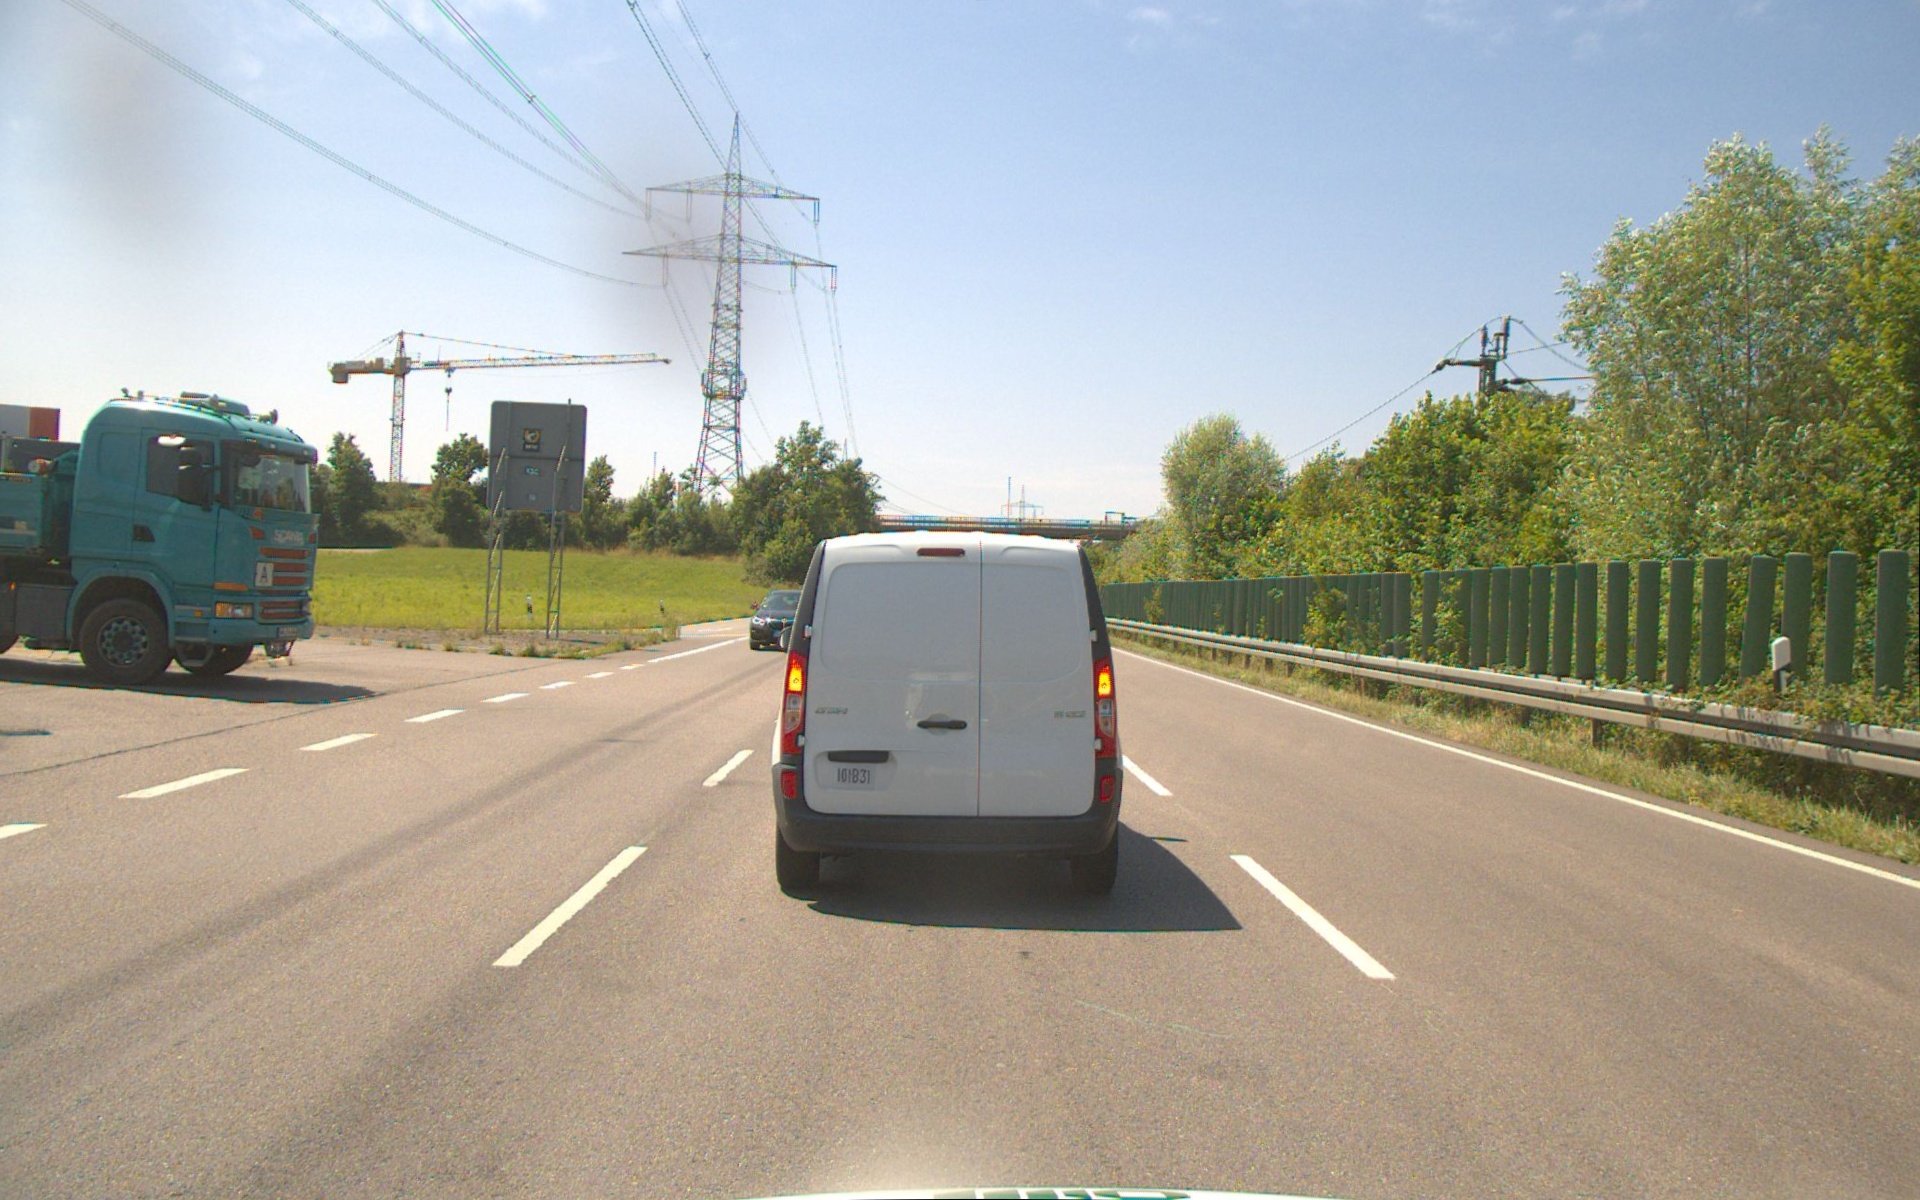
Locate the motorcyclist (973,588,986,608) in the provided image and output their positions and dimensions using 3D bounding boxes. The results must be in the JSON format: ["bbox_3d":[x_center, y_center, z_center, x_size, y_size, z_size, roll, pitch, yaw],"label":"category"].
[{"bbox_3d":[1.425,-0.157,121.947,0.871,1.502,1.002,1,0,-1],"label":"motorcyclist"}]

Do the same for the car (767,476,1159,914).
[{"bbox_3d":[-0.029,0.432,9.678,1.790,2.005,3.999,1,0,-1],"label":"car"}]

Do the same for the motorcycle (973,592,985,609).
[{"bbox_3d":[1.399,0.015,122.039,0.774,1.178,1.900,2,0,-2],"label":"motorcycle"}]

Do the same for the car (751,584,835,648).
[{"bbox_3d":[-4.151,0.381,41.631,1.746,1.489,3.999,2,0,-1],"label":"car"}]

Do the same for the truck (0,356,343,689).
[{"bbox_3d":[-12.332,-1.089,21.121,7.742,3.799,2.498,4,0,1],"label":"truck"}]
